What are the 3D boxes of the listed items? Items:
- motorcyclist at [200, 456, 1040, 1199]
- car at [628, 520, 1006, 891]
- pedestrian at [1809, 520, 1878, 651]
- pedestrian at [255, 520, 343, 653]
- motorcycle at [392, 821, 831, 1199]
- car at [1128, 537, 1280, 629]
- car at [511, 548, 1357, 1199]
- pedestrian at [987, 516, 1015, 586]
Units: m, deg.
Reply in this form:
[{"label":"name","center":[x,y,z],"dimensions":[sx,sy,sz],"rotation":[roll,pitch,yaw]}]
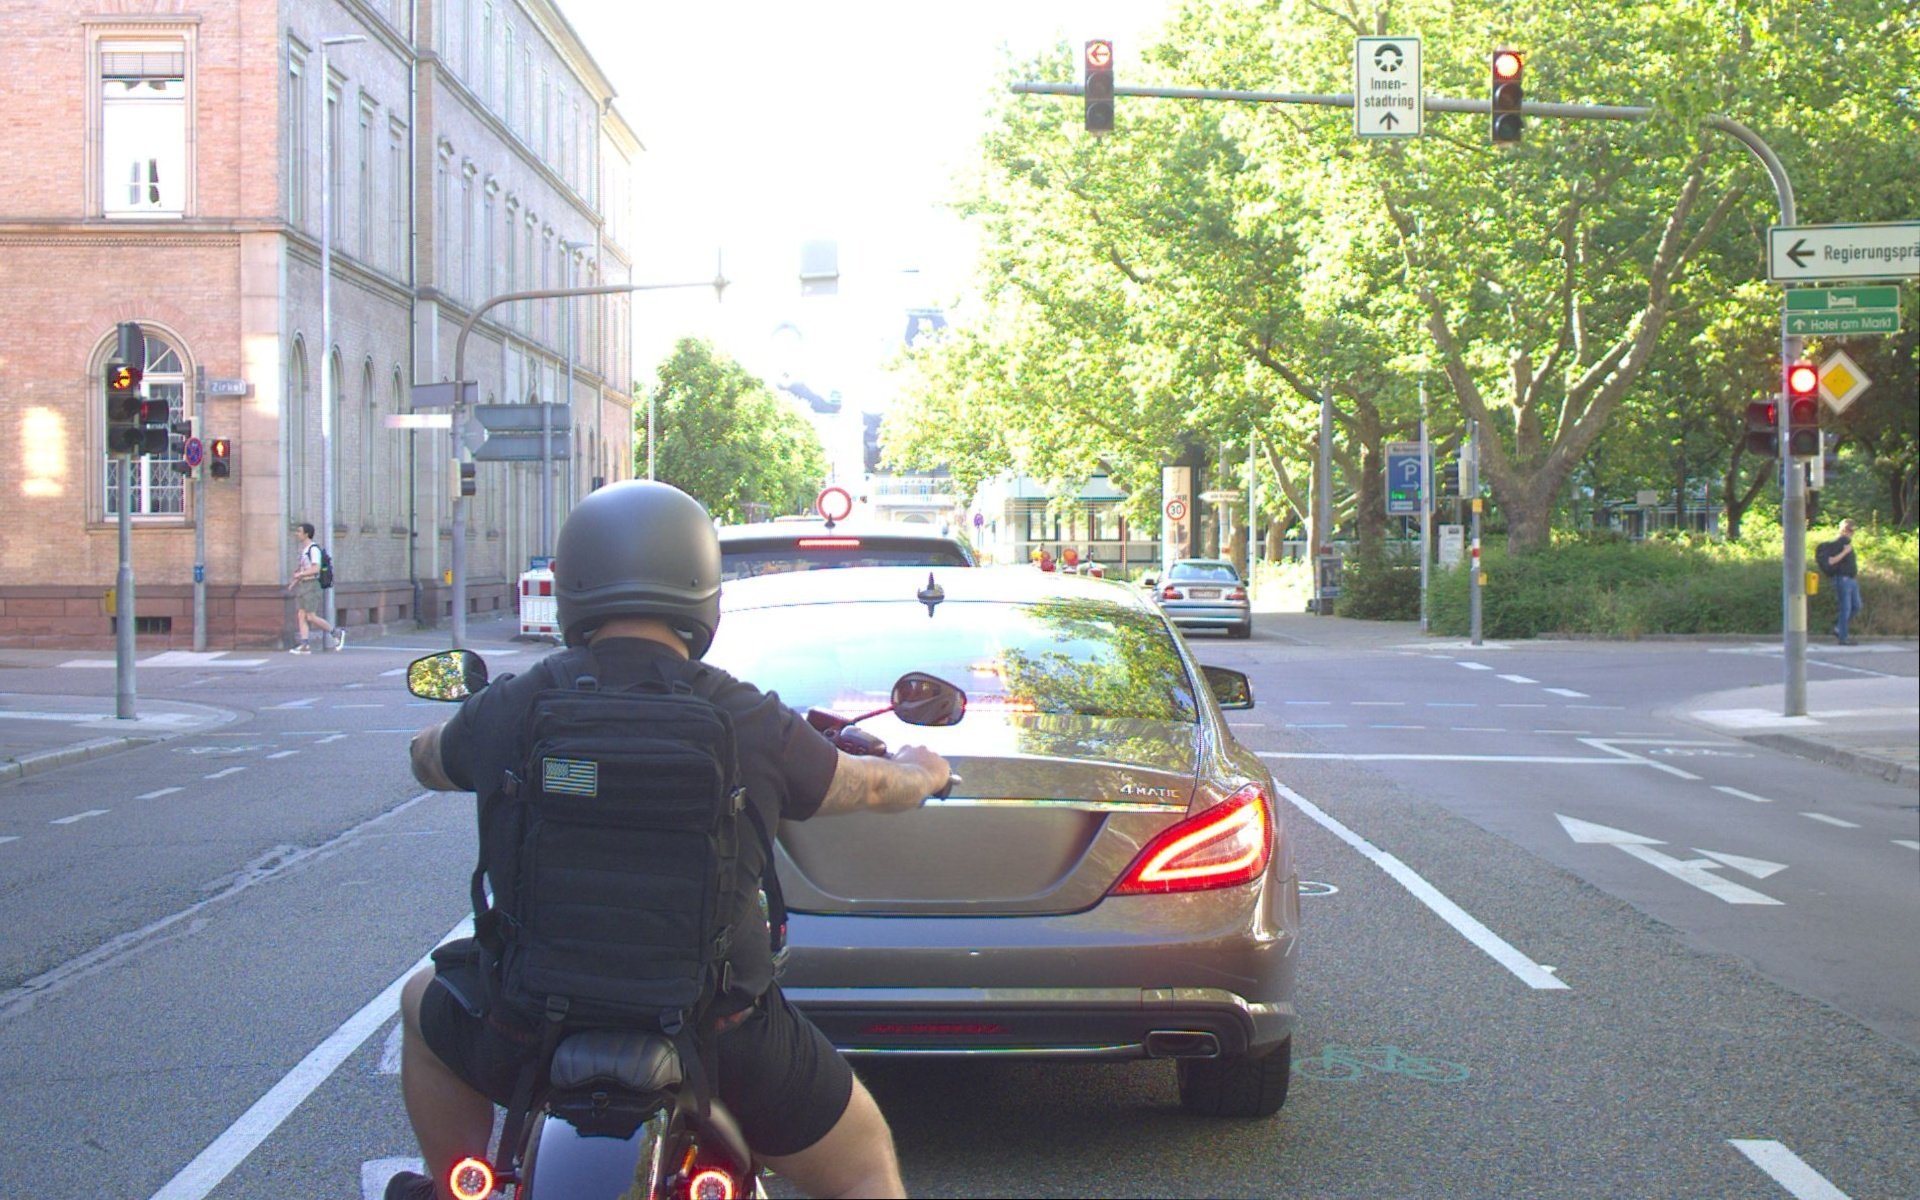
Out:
[{"label":"motorcyclist","center":[-0.482,0.599,5.405],"dimensions":[1.149,1.593,1.288],"rotation":[1,0,-1]},{"label":"car","center":[-0.635,0.416,16.752],"dimensions":[1.621,1.588,4.000],"rotation":[0,1,-1]},{"label":"pedestrian","center":[13.029,-0.215,50.709],"dimensions":[0.923,1.903,0.751],"rotation":[1,0,12]},{"label":"pedestrian","center":[-9.211,-0.185,47.904],"dimensions":[1.001,1.820,1.076],"rotation":[1,0,-21]},{"label":"motorcycle","center":[-0.495,0.930,5.479],"dimensions":[0.513,0.999,2.013],"rotation":[1,1,-1]},{"label":"car","center":[4.364,-0.317,62.026],"dimensions":[1.851,1.569,4.137],"rotation":[1,1,-9]},{"label":"car","center":[-0.081,0.600,9.636],"dimensions":[1.882,1.444,3.820],"rotation":[1,1,-1]},{"label":"pedestrian","center":[1.194,-1.446,100.890],"dimensions":[0.764,2.044,0.712],"rotation":[1,0,-1]}]
